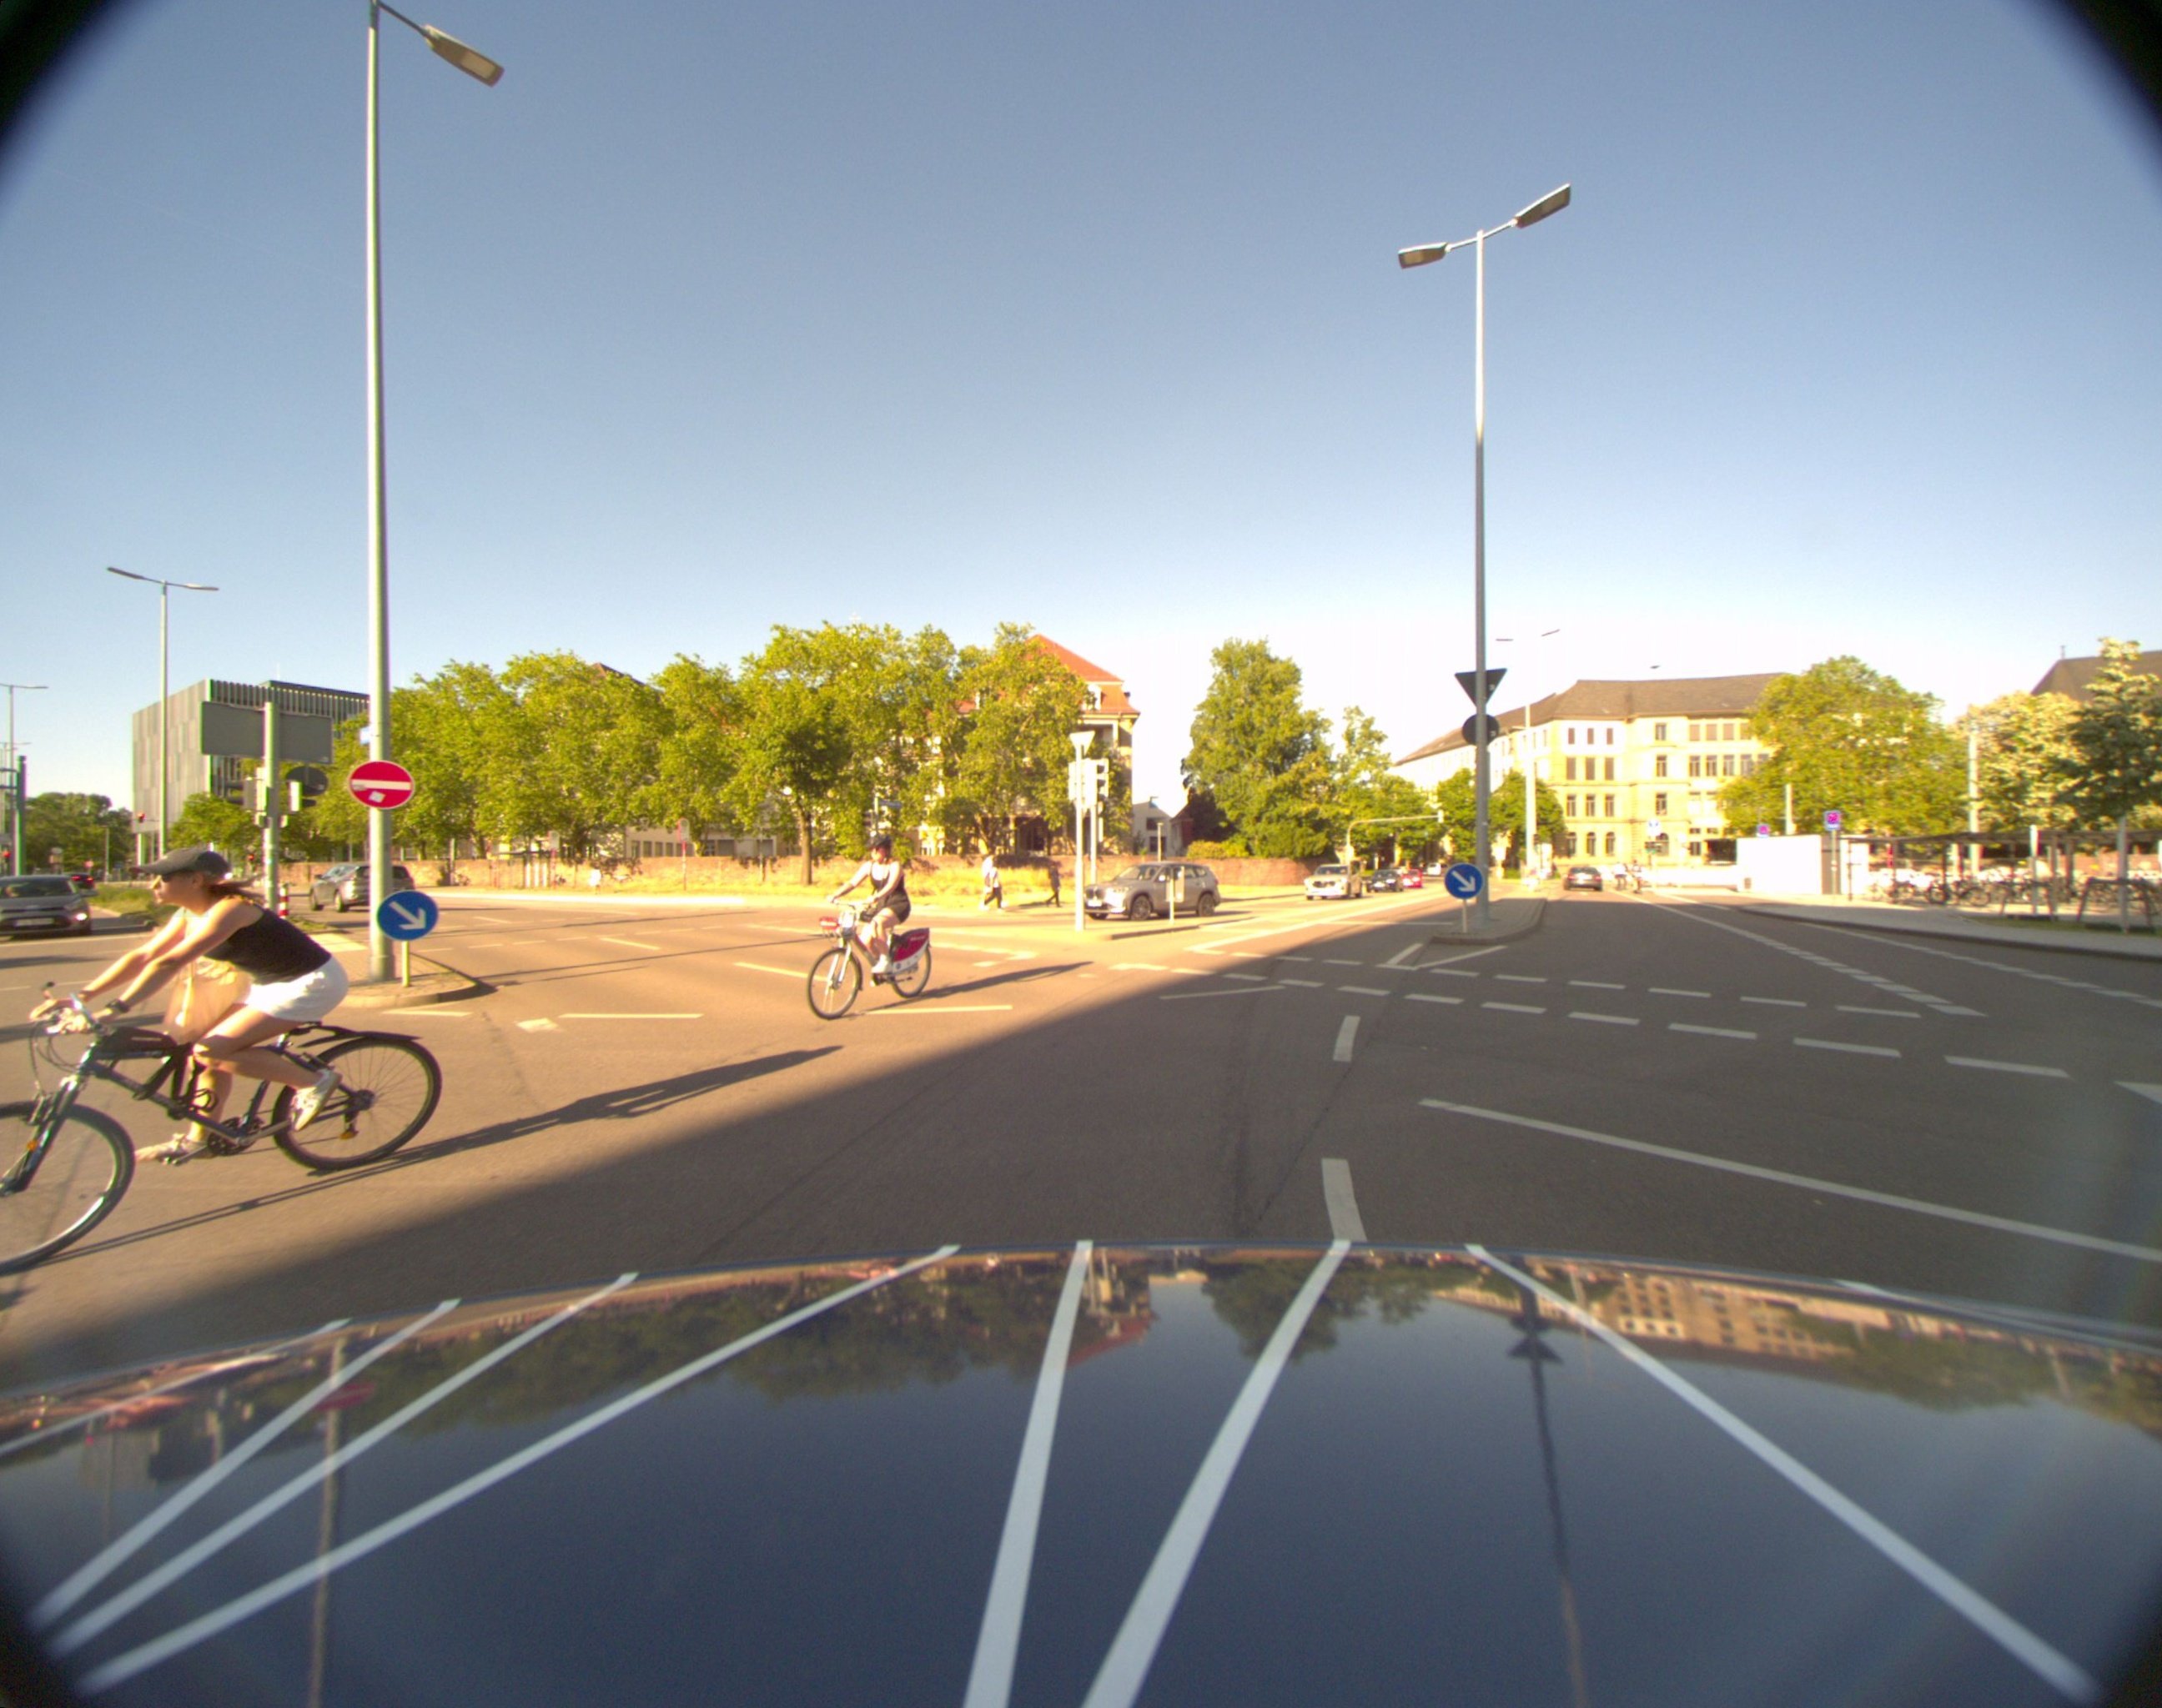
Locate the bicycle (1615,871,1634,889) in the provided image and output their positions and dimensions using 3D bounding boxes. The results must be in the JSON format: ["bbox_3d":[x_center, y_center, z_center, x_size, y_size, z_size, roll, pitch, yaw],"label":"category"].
[{"bbox_3d":[34.959,1.641,48.838,0.880,1.091,2.193,0,0,38],"label":"bicycle"}]

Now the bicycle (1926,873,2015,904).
[{"bbox_3d":[34.264,1.308,29.322,0.837,1.048,2.118,-2,0,-5],"label":"bicycle"}]

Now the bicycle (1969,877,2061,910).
[{"bbox_3d":[32.885,1.362,26.803,0.758,1.048,1.973,-2,0,-3],"label":"bicycle"}]

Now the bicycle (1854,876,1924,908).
[{"bbox_3d":[30.208,1.402,28.447,0.566,1.048,1.974,-2,0,2],"label":"bicycle"}]

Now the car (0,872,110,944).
[{"bbox_3d":[-24.967,1.231,18.311,4.006,1.510,1.929,0,0,38],"label":"car"}]

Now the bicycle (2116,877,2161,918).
[{"bbox_3d":[30.660,1.246,21.293,0.567,1.099,1.973,-2,0,-3],"label":"bicycle"}]

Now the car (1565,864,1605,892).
[{"bbox_3d":[29.027,1.346,43.859,1.802,1.436,3.985,-1,1,32],"label":"car"}]

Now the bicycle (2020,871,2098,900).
[{"bbox_3d":[37.834,1.208,29.438,0.418,1.048,1.973,-2,0,-2],"label":"bicycle"}]

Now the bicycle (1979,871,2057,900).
[{"bbox_3d":[37.223,1.249,30.228,0.497,1.048,1.972,-2,0,-7],"label":"bicycle"}]

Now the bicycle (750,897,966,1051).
[{"bbox_3d":[-2.057,1.057,7.364,0.717,1.115,2.070,-1,1,29],"label":"bicycle"}]

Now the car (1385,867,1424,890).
[{"bbox_3d":[24.478,1.844,57.359,2.190,1.576,4.615,-3,-1,29],"label":"car"}]

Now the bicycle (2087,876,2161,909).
[{"bbox_3d":[37.766,1.366,27.355,0.418,1.048,1.973,-2,0,-2],"label":"bicycle"}]

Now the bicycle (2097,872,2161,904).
[{"bbox_3d":[38.188,1.215,27.379,0.418,1.048,1.973,-2,0,-2],"label":"bicycle"}]

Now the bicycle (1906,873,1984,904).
[{"bbox_3d":[32.711,1.295,28.796,0.682,1.048,1.936,-2,0,-2],"label":"bicycle"}]

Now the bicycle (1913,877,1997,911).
[{"bbox_3d":[30.748,1.386,26.773,0.567,1.048,1.972,-2,0,-6],"label":"bicycle"}]

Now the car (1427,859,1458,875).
[{"bbox_3d":[51.654,1.863,108.545,4.158,2.002,1.995,-4,2,-33],"label":"car"}]

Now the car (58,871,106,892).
[{"bbox_3d":[-78.761,2.157,59.888,3.989,1.586,2.004,0,0,33],"label":"car"}]

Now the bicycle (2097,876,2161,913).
[{"bbox_3d":[32.935,1.242,23.325,0.866,1.037,1.931,-2,0,-5],"label":"bicycle"}]

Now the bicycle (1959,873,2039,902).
[{"bbox_3d":[35.564,1.288,29.462,0.511,1.048,1.971,-2,0,-11],"label":"bicycle"}]

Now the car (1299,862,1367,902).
[{"bbox_3d":[11.867,1.284,35.550,2.190,1.673,4.615,-3,-1,29],"label":"car"}]

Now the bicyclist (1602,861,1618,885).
[{"bbox_3d":[36.864,1.344,52.966,0.864,1.643,0.946,0,0,38],"label":"bicyclist"}]

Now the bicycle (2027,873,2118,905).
[{"bbox_3d":[35.615,1.228,27.340,0.567,1.048,1.972,-2,0,-6],"label":"bicycle"}]

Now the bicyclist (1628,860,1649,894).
[{"bbox_3d":[28.067,1.173,38.269,0.763,1.658,1.064,-3,-1,35],"label":"bicyclist"}]

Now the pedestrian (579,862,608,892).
[{"bbox_3d":[-25.135,1.163,39.211,0.920,1.527,0.976,0,0,35],"label":"pedestrian"}]

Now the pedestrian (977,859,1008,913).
[{"bbox_3d":[-2.840,1.014,24.416,0.872,1.665,0.712,2,2,-2],"label":"pedestrian"}]

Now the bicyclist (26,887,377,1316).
[{"bbox_3d":[-3.808,0.934,3.328,0.715,1.539,0.851,-2,-1,28],"label":"bicyclist"}]

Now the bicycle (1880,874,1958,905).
[{"bbox_3d":[31.736,1.336,28.829,0.682,1.048,2.022,-2,0,-2],"label":"bicycle"}]

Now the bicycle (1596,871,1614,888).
[{"bbox_3d":[36.682,1.784,53.182,0.880,1.091,2.193,0,0,38],"label":"bicycle"}]

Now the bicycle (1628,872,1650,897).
[{"bbox_3d":[28.081,1.524,38.252,0.763,1.179,2.611,-3,-1,35],"label":"bicycle"}]

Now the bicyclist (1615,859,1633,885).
[{"bbox_3d":[34.880,1.139,48.806,0.864,1.643,0.946,-1,0,37],"label":"bicyclist"}]

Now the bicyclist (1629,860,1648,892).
[{"bbox_3d":[29.941,1.170,40.822,0.763,1.658,1.064,-3,-1,35],"label":"bicyclist"}]

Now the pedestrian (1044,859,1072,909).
[{"bbox_3d":[-0.801,1.016,26.129,0.793,1.644,0.711,1,3,-13],"label":"pedestrian"}]

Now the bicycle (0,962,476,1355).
[{"bbox_3d":[-3.870,1.174,3.196,0.718,1.115,1.872,-2,2,29],"label":"bicycle"}]

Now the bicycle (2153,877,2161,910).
[{"bbox_3d":[34.398,1.233,23.124,0.767,1.037,1.931,-2,0,-5],"label":"bicycle"}]

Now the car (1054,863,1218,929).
[{"bbox_3d":[1.606,1.082,21.233,4.372,1.610,2.150,0,0,-42],"label":"car"}]

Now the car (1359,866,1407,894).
[{"bbox_3d":[18.949,1.620,47.523,2.190,1.576,4.615,-3,-1,29],"label":"car"}]

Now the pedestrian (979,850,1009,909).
[{"bbox_3d":[-2.860,0.838,25.128,0.872,1.884,0.712,2,2,-2],"label":"pedestrian"}]

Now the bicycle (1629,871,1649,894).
[{"bbox_3d":[29.956,1.522,40.828,0.763,1.179,2.611,-3,-1,35],"label":"bicycle"}]

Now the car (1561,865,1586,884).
[{"bbox_3d":[36.727,1.532,56.719,1.380,1.330,3.511,0,0,29],"label":"car"}]

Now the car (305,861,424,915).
[{"bbox_3d":[-24.596,1.097,26.044,4.616,1.674,2.004,-1,0,34],"label":"car"}]

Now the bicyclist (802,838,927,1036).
[{"bbox_3d":[-2.074,0.742,7.347,0.715,1.778,0.851,-1,2,28],"label":"bicyclist"}]

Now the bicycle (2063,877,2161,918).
[{"bbox_3d":[30.953,1.275,22.798,0.485,1.099,1.800,-2,0,-9],"label":"bicycle"}]

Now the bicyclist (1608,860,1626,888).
[{"bbox_3d":[32.201,1.169,45.651,0.864,1.643,0.946,0,0,38],"label":"bicyclist"}]
